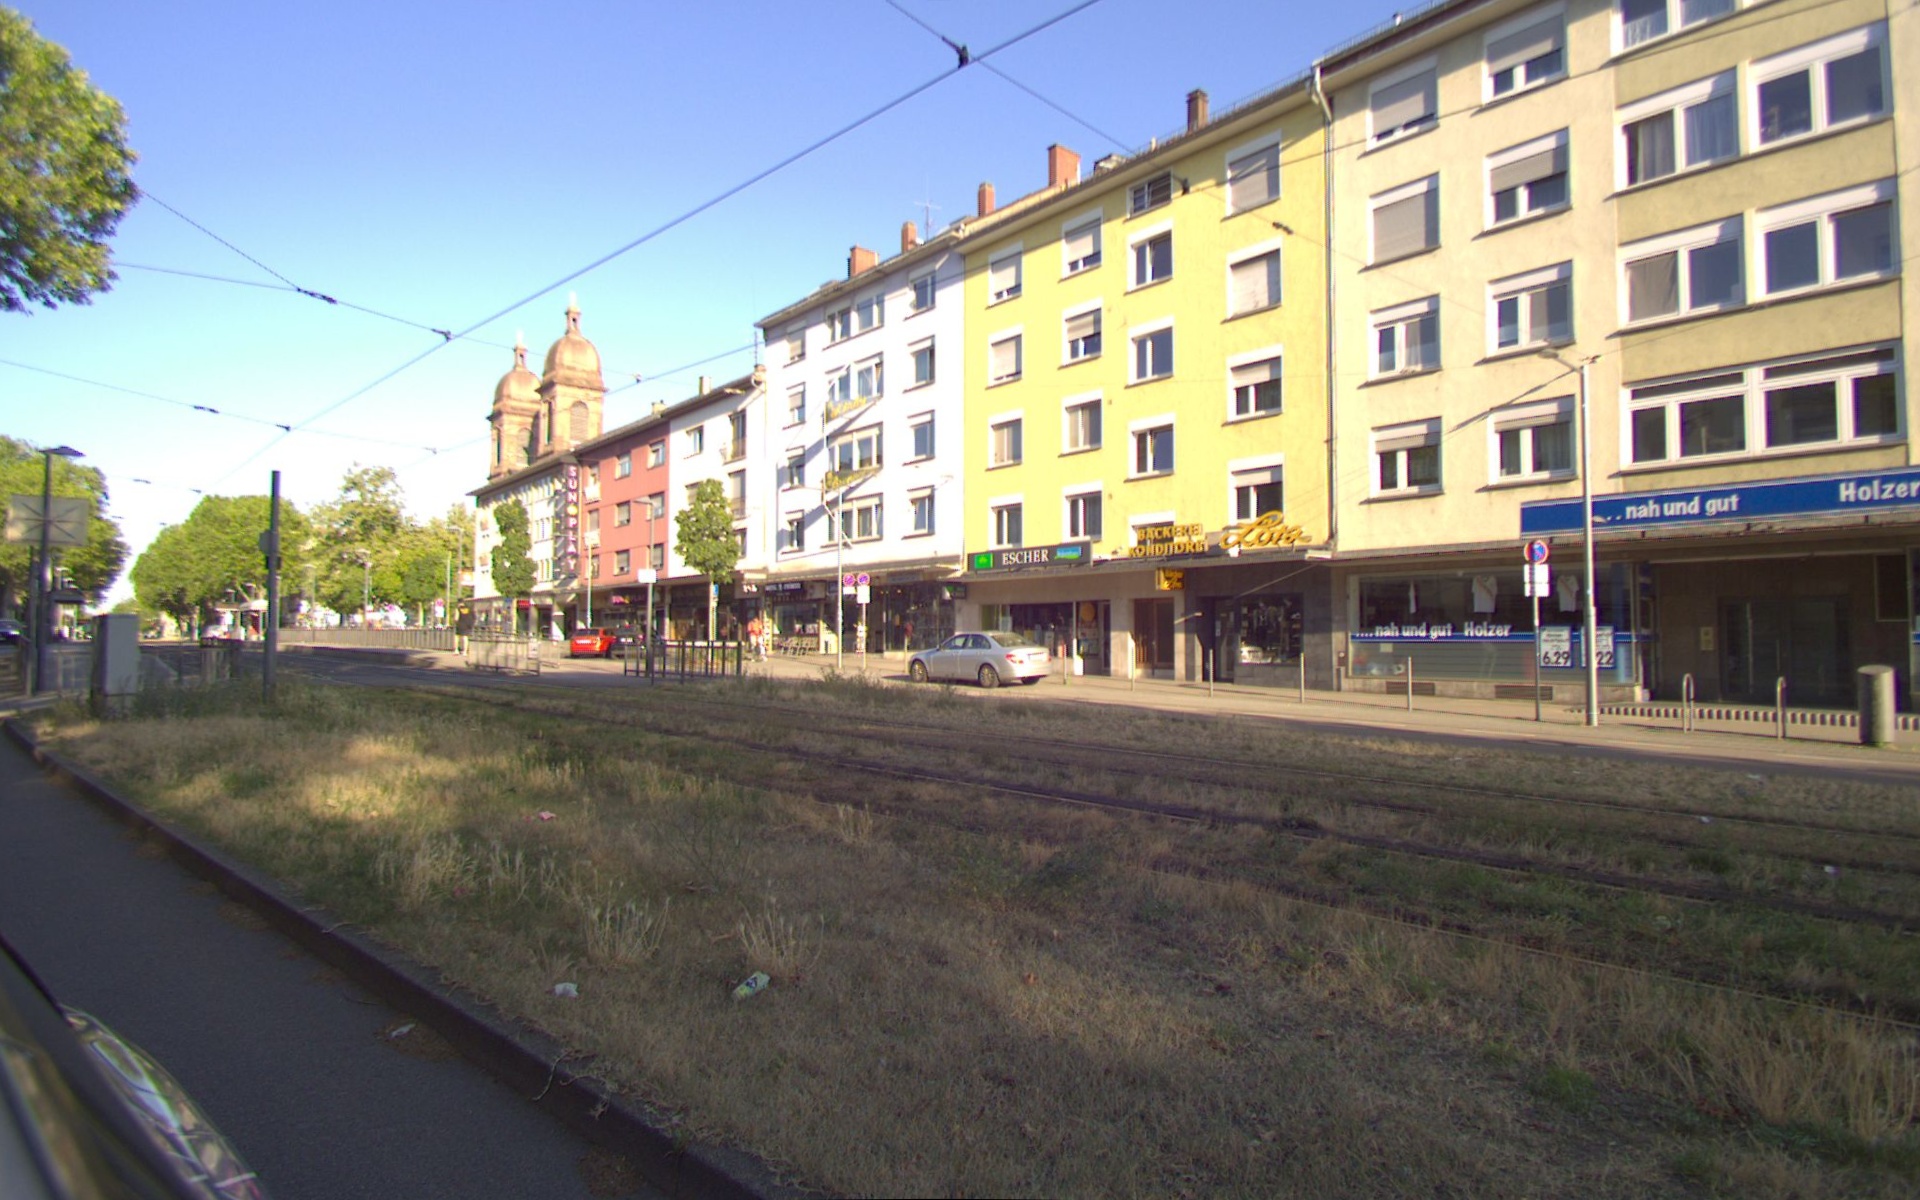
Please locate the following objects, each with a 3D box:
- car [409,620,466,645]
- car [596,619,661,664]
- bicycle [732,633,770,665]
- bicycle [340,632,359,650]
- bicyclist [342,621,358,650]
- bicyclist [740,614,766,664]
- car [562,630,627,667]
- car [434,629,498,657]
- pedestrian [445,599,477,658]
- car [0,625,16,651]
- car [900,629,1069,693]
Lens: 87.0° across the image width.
[{"bbox_3d":[-35.195,2.165,68.252,1.720,1.497,3.998,-1,0,1],"label":"car"},{"bbox_3d":[-14.785,1.828,45.352,1.836,1.813,3.773,-1,0,-3],"label":"car"},{"bbox_3d":[-8.109,1.887,39.186,0.696,1.168,2.204,1,-1,-33],"label":"bicycle"},{"bbox_3d":[-43.343,2.920,71.870,0.709,1.239,2.281,3,-3,-42],"label":"bicycle"},{"bbox_3d":[-43.359,2.520,71.912,0.754,2.029,0.912,3,-3,-42],"label":"bicyclist"},{"bbox_3d":[-7.982,1.501,39.014,0.683,1.901,1.060,1,-2,-32],"label":"bicyclist"},{"bbox_3d":[-16.911,2.214,47.046,1.836,1.502,3.773,-1,0,-3],"label":"car"},{"bbox_3d":[-30.537,2.621,62.707,1.845,1.541,3.996,-1,0,3],"label":"car"},{"bbox_3d":[-16.094,0.923,32.637,0.590,1.863,0.733,-2,-3,43],"label":"pedestrian"},{"bbox_3d":[-54.436,2.119,56.979,4.002,1.408,1.694,-1,-1,45],"label":"car"},{"bbox_3d":[0.578,1.565,27.120,1.970,1.489,4.414,0,-1,-44],"label":"car"}]
